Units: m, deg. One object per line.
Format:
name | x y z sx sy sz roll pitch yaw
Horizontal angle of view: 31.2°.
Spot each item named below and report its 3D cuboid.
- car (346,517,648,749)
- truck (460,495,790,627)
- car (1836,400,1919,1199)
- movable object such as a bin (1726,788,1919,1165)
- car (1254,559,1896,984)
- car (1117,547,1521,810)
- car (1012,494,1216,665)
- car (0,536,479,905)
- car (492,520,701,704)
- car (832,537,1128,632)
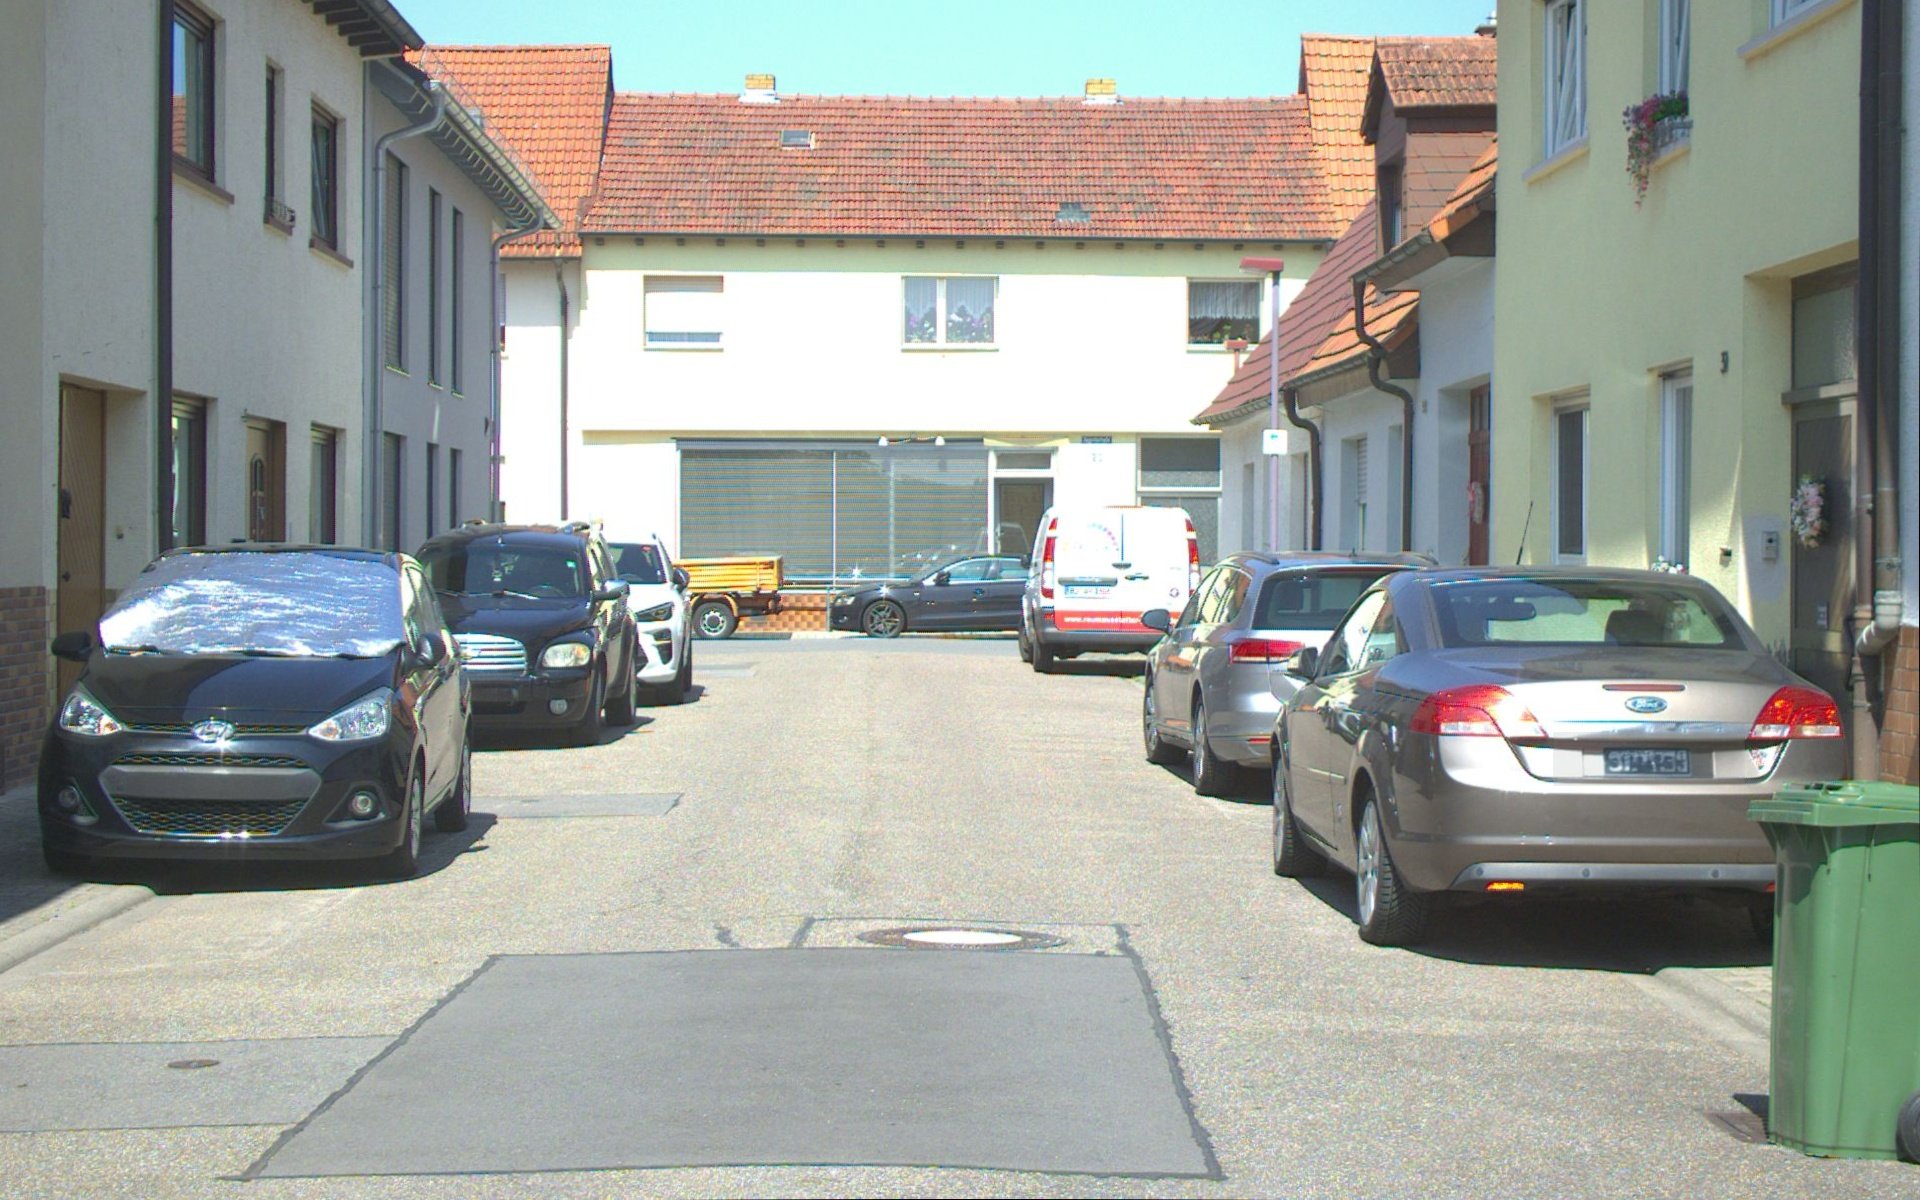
car | -3.438 0.201 26.175 1.722 1.610 3.989 -1 1 0
truck | -5.283 -0.622 54.770 5.063 2.007 2.190 1 0 -1
car | 2.293 0.643 3.231 1.696 1.771 4.200 1 1 -2
movable object such as a bin | 2.327 0.943 8.776 0.549 0.888 0.579 0 0 -8
car | 2.320 0.575 14.027 1.696 1.430 4.103 1 1 -2
car | 2.136 0.407 21.782 1.838 1.443 4.777 1 1 -2
car | 1.731 -0.267 40.469 2.012 1.832 5.266 1 1 -1
car | -3.326 0.477 16.473 1.640 1.532 3.943 -1 1 -3
car | -3.392 0.068 32.733 1.774 1.610 4.350 -1 1 -4
car | 0.281 -0.235 54.752 4.616 1.389 1.928 1 -2 -2
